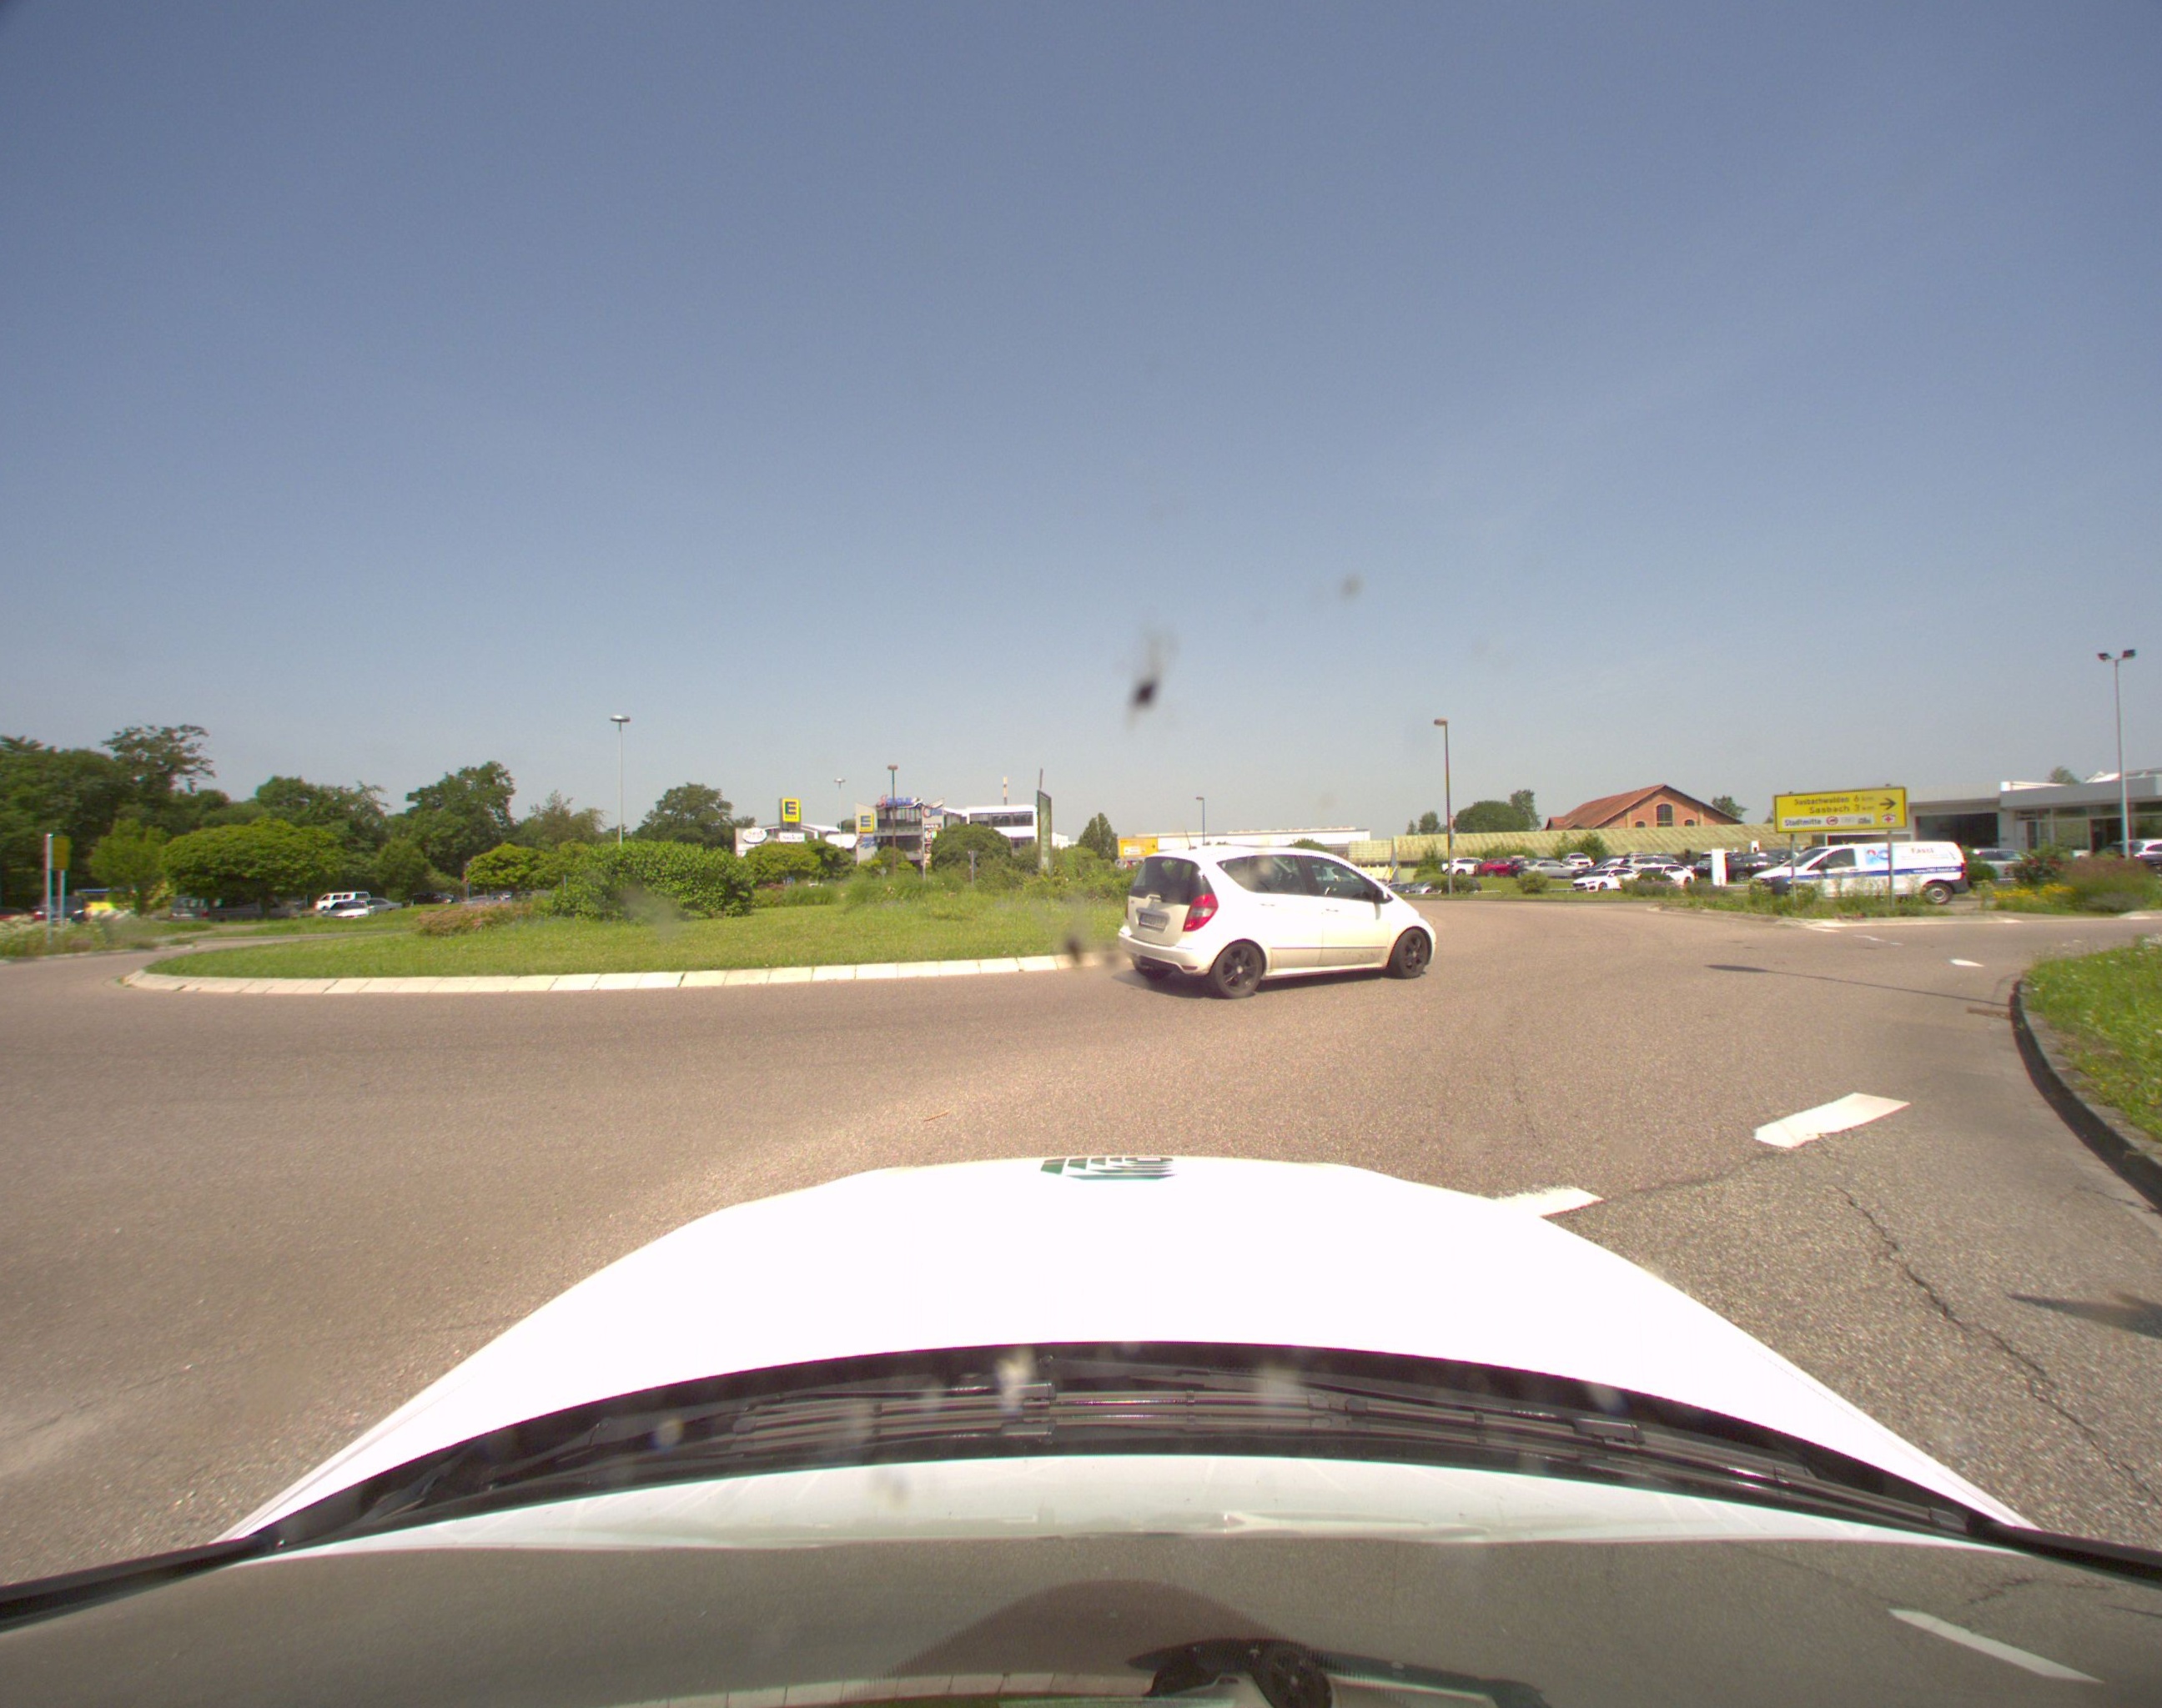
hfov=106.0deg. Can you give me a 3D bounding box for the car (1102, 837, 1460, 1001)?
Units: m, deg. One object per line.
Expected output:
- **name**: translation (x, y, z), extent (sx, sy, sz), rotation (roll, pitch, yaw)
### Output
- **car**: translation (2.382, 0.619, 9.661), extent (3.900, 1.603, 1.772), rotation (-1, 0, -26)

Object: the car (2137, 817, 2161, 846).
- **car**: translation (61.968, -1.318, 44.970), extent (3.993, 1.586, 1.920), rotation (-2, -1, 22)

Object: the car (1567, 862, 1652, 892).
- **car**: translation (31.800, 1.391, 49.015), extent (4.574, 1.571, 1.757), rotation (-2, -3, -18)

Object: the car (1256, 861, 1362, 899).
- **car**: translation (9.782, 1.120, 34.971), extent (4.033, 1.530, 1.796), rotation (-1, -3, 31)

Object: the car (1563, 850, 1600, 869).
- **car**: translation (45.646, 0.545, 74.313), extent (1.901, 1.596, 4.324), rotation (-2, -2, 19)

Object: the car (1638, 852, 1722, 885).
- **car**: translation (34.741, 0.850, 47.251), extent (4.671, 1.570, 1.754), rotation (-3, -1, -24)

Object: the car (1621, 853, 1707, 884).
- **car**: translation (37.064, 0.911, 51.907), extent (3.965, 1.750, 1.958), rotation (-3, -2, 16)

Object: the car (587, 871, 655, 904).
- **car**: translation (-29.995, 2.182, 53.193), extent (1.678, 2.014, 4.009), rotation (0, -2, 9)

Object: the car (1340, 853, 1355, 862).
- **car**: translation (49.944, 0.688, 152.663), extent (1.975, 1.398, 4.024), rotation (-1, -2, 28)

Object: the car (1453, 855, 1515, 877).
- **car**: translation (34.351, 1.052, 69.587), extent (4.419, 1.747, 1.847), rotation (-2, -2, 16)

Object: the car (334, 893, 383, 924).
- **car**: translation (-37.790, 2.823, 42.573), extent (4.509, 1.498, 1.595), rotation (-2, -3, 45)

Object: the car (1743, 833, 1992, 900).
- **car**: translation (24.017, 0.424, 25.157), extent (5.167, 1.938, 1.870), rotation (-1, -2, 22)

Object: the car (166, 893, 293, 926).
- **car**: translation (-43.414, 2.788, 41.704), extent (1.865, 1.562, 4.403), rotation (0, -2, -1)

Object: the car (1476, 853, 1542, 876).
- **car**: translation (34.985, 0.890, 66.713), extent (4.419, 1.747, 1.958), rotation (-2, -2, 16)

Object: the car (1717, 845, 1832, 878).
- **car**: translation (38.781, 0.460, 45.675), extent (4.378, 1.500, 1.958), rotation (-5, -3, 16)

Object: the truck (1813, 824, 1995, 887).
- **truck**: translation (38.099, 0.119, 37.922), extent (5.560, 2.665, 1.960), rotation (-2, -2, 22)

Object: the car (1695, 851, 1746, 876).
- **car**: translation (45.239, 0.659, 57.558), extent (4.286, 1.586, 1.640), rotation (-1, -2, -35)

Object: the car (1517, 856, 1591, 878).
- **car**: translation (35.499, 1.007, 61.213), extent (4.419, 1.500, 1.958), rotation (-2, -1, 16)

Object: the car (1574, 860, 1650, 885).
- **car**: translation (35.667, 1.242, 54.813), extent (3.960, 1.526, 1.960), rotation (-2, -1, 22)

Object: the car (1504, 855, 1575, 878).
- **car**: translation (35.688, 1.014, 63.534), extent (4.419, 1.635, 1.958), rotation (-2, -2, 16)

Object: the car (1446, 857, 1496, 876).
- **car**: translation (35.460, 1.127, 74.179), extent (3.845, 1.533, 1.776), rotation (-2, -2, 16)

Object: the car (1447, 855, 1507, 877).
- **car**: translation (34.942, 1.078, 71.951), extent (4.419, 1.747, 1.847), rotation (-2, -2, 16)

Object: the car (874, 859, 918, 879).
- **car**: translation (-15.837, 1.325, 69.652), extent (3.286, 1.574, 1.562), rotation (-2, -3, 17)
